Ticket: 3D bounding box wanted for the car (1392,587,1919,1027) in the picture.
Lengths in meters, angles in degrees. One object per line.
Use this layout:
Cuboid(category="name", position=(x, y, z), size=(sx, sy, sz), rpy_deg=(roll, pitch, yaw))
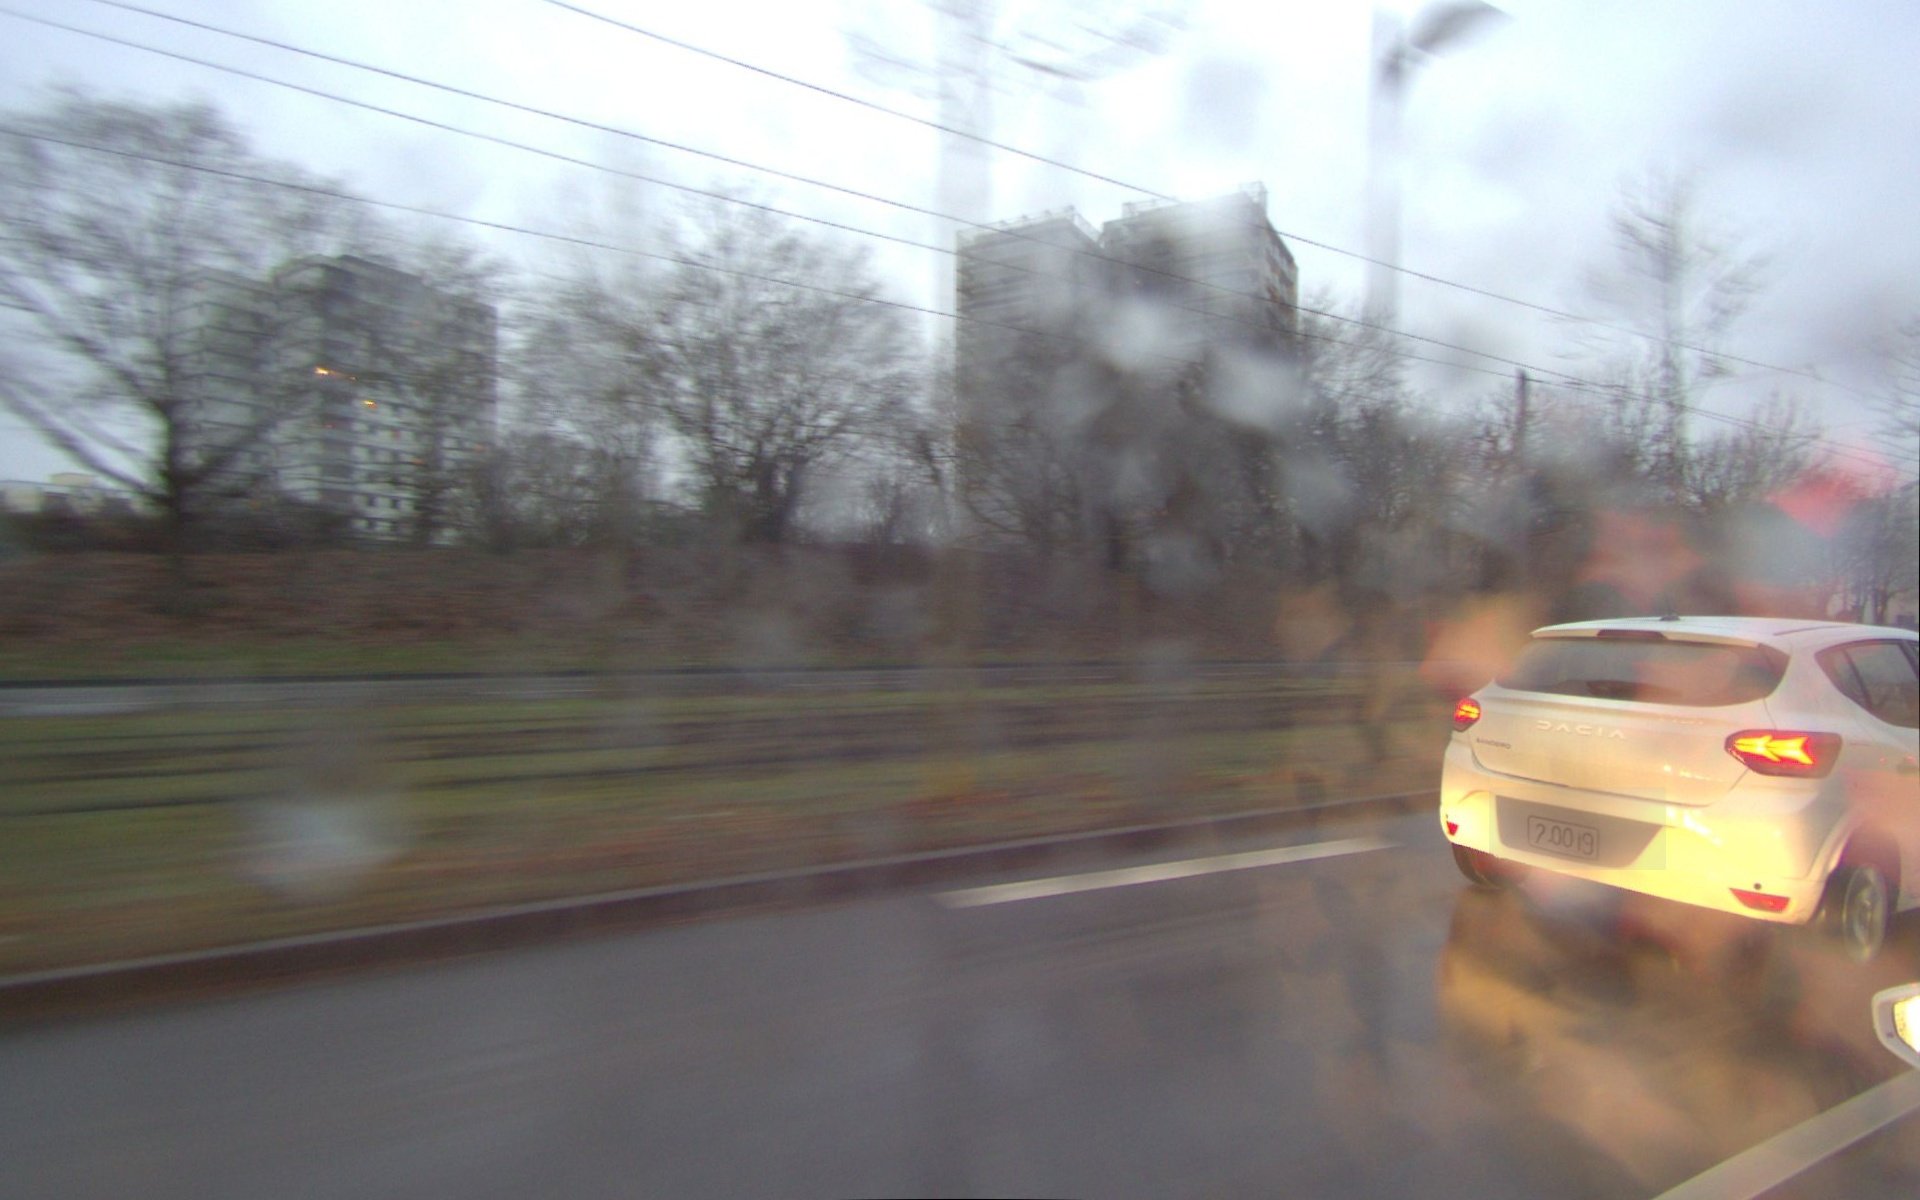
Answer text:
Cuboid(category="car", position=(4.341, 0.777, 5.310), size=(4.086, 1.545, 1.701), rpy_deg=(1, -1, -30))
